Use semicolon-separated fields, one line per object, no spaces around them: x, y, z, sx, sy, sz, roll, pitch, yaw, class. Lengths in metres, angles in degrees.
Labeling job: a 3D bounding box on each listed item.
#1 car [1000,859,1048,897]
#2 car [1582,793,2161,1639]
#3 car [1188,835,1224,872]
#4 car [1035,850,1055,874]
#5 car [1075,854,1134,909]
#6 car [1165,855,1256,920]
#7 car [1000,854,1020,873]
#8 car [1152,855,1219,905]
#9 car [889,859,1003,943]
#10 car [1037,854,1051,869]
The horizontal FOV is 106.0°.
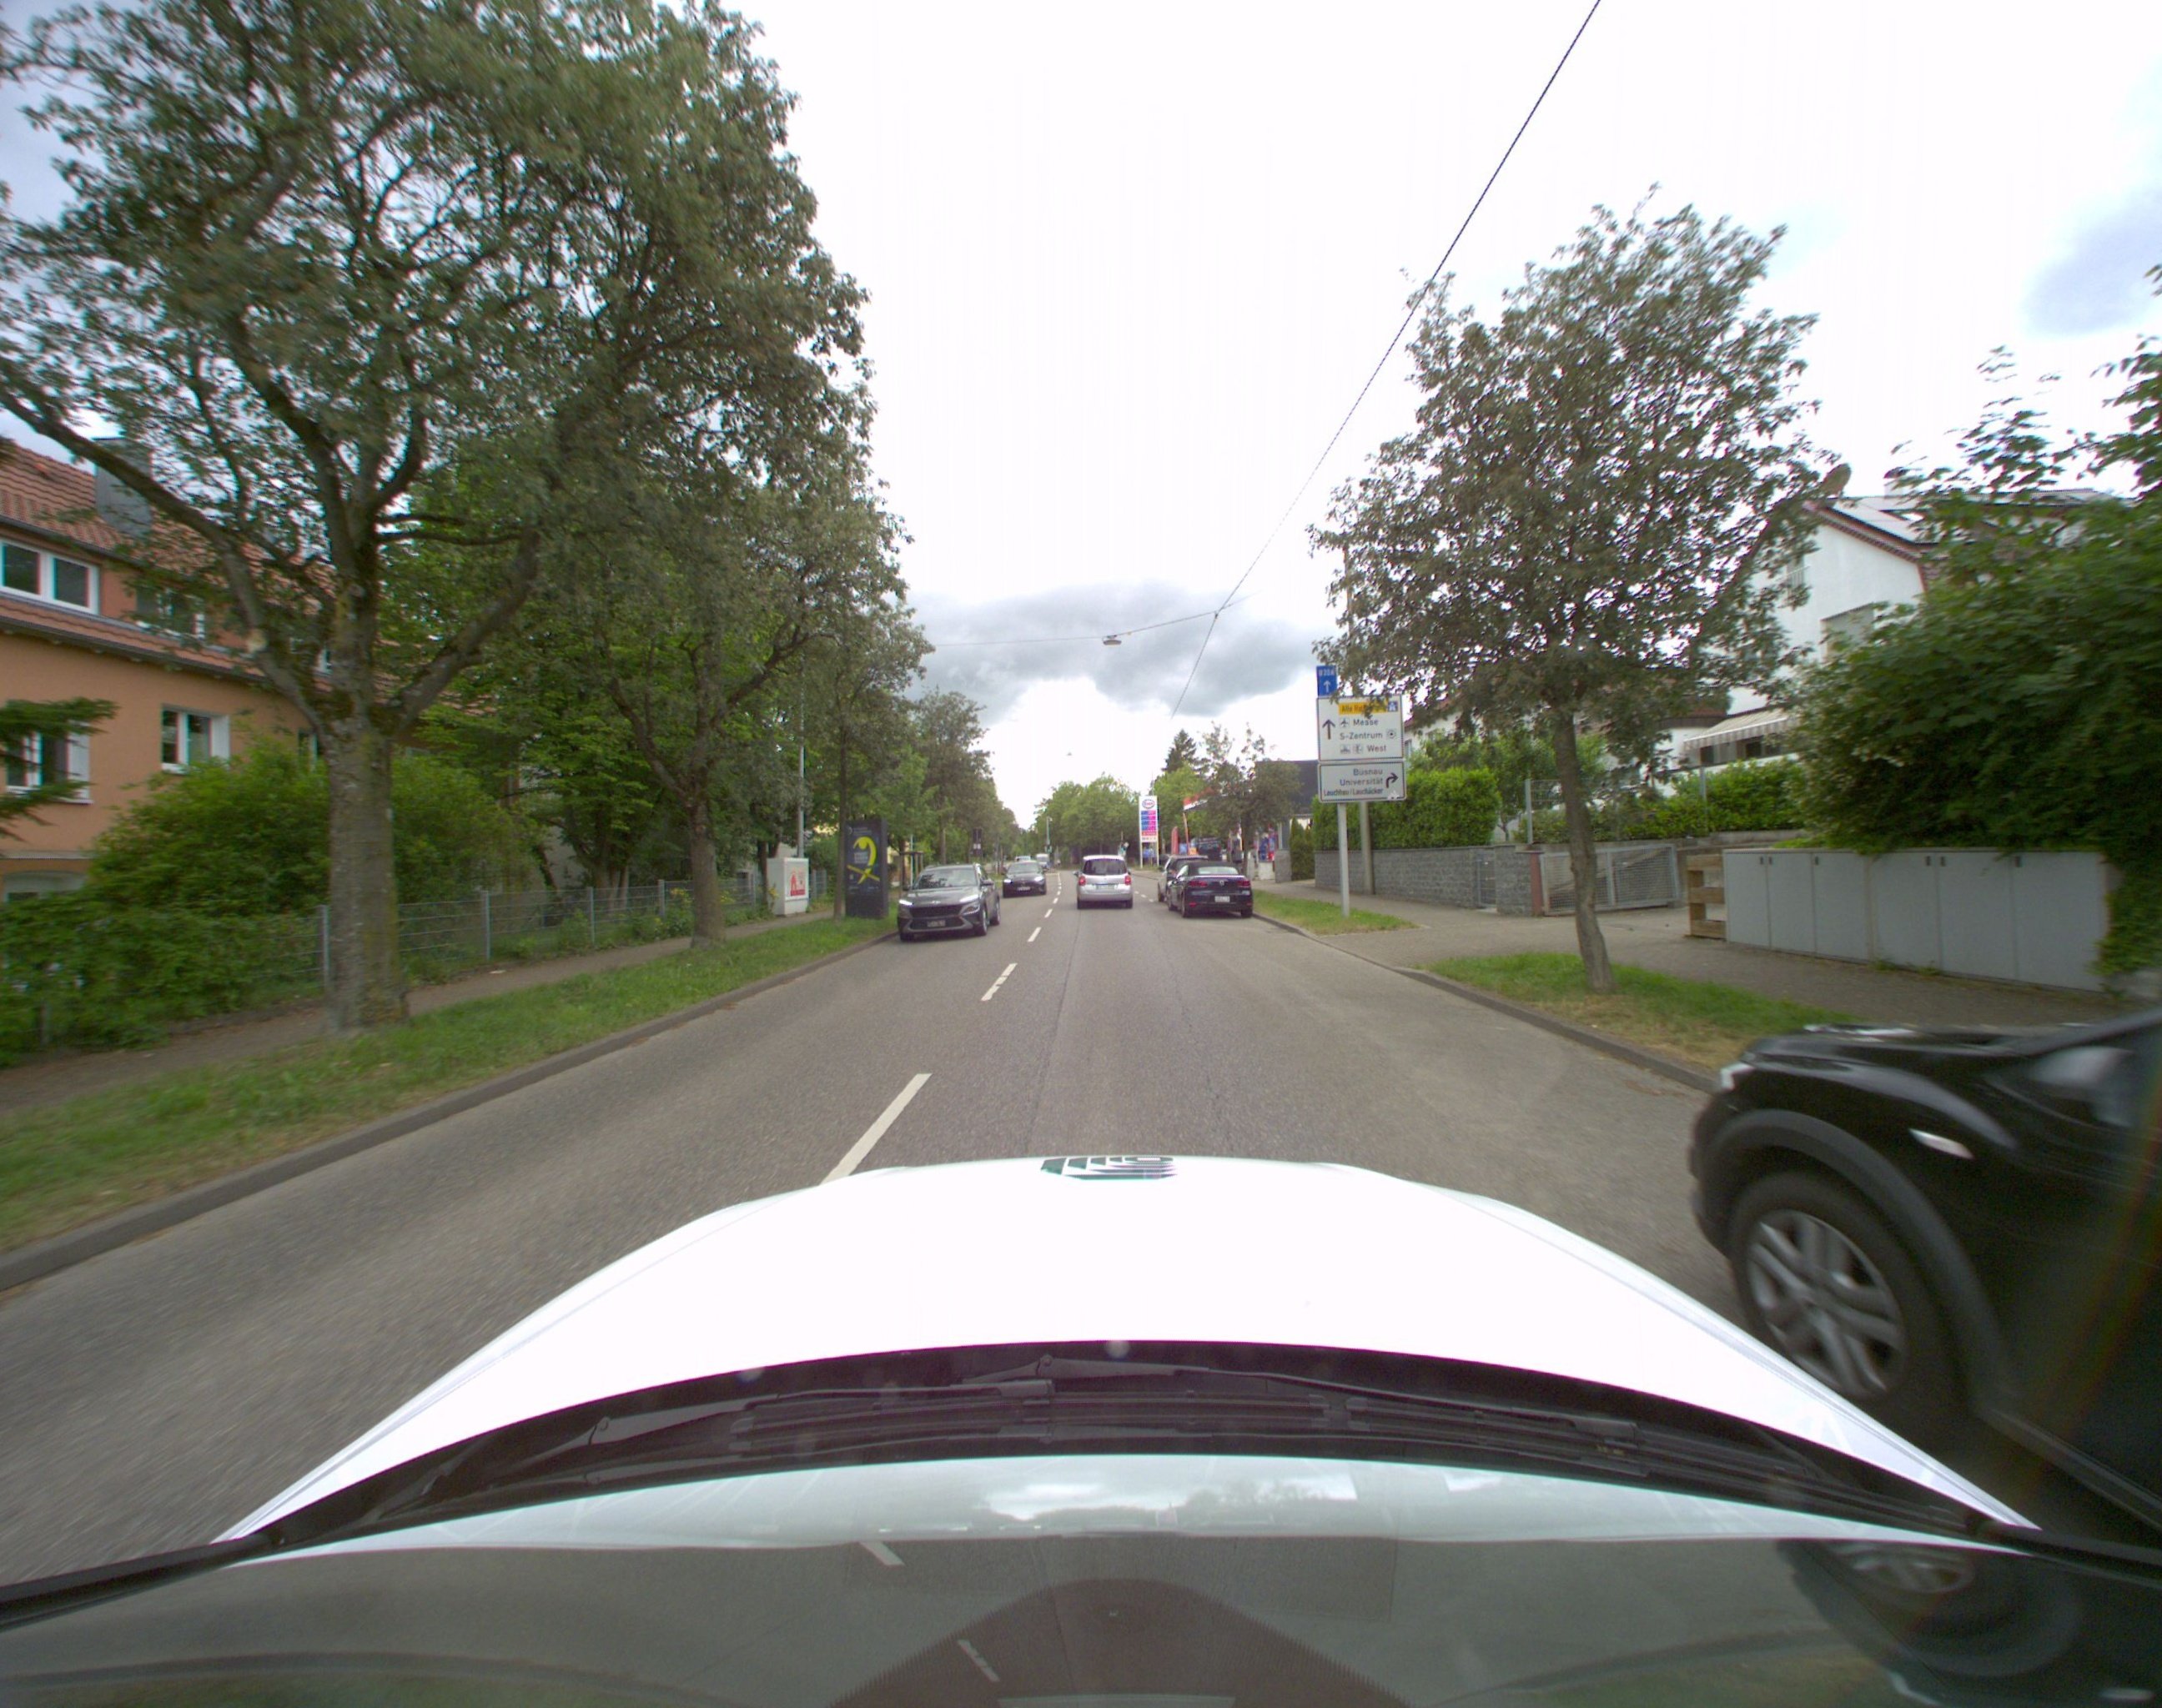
-2.424;1.005;35.326;1.689;1.506;3.646;-2;0;2;car
2.835;0.649;1.206;1.690;1.570;3.954;-2;0;-1;car
10.196;-0.008;66.573;2.273;2.911;5.281;0;0;2;car
-3.857;0.851;86.994;1.928;2.408;3.999;-2;0;0;car
0.680;0.794;25.104;1.674;1.560;3.511;-1;0;0;car
3.313;0.801;21.503;1.690;1.506;3.971;-2;0;-1;car
-8.036;1.048;92.664;1.928;2.013;3.999;-2;0;0;car
3.382;0.799;26.918;1.690;1.506;3.643;-2;0;-1;car
-2.902;0.958;18.233;1.787;1.555;3.672;-4;0;0;car
-5.441;1.081;119.104;1.734;2.013;4.002;-2;0;2;car
